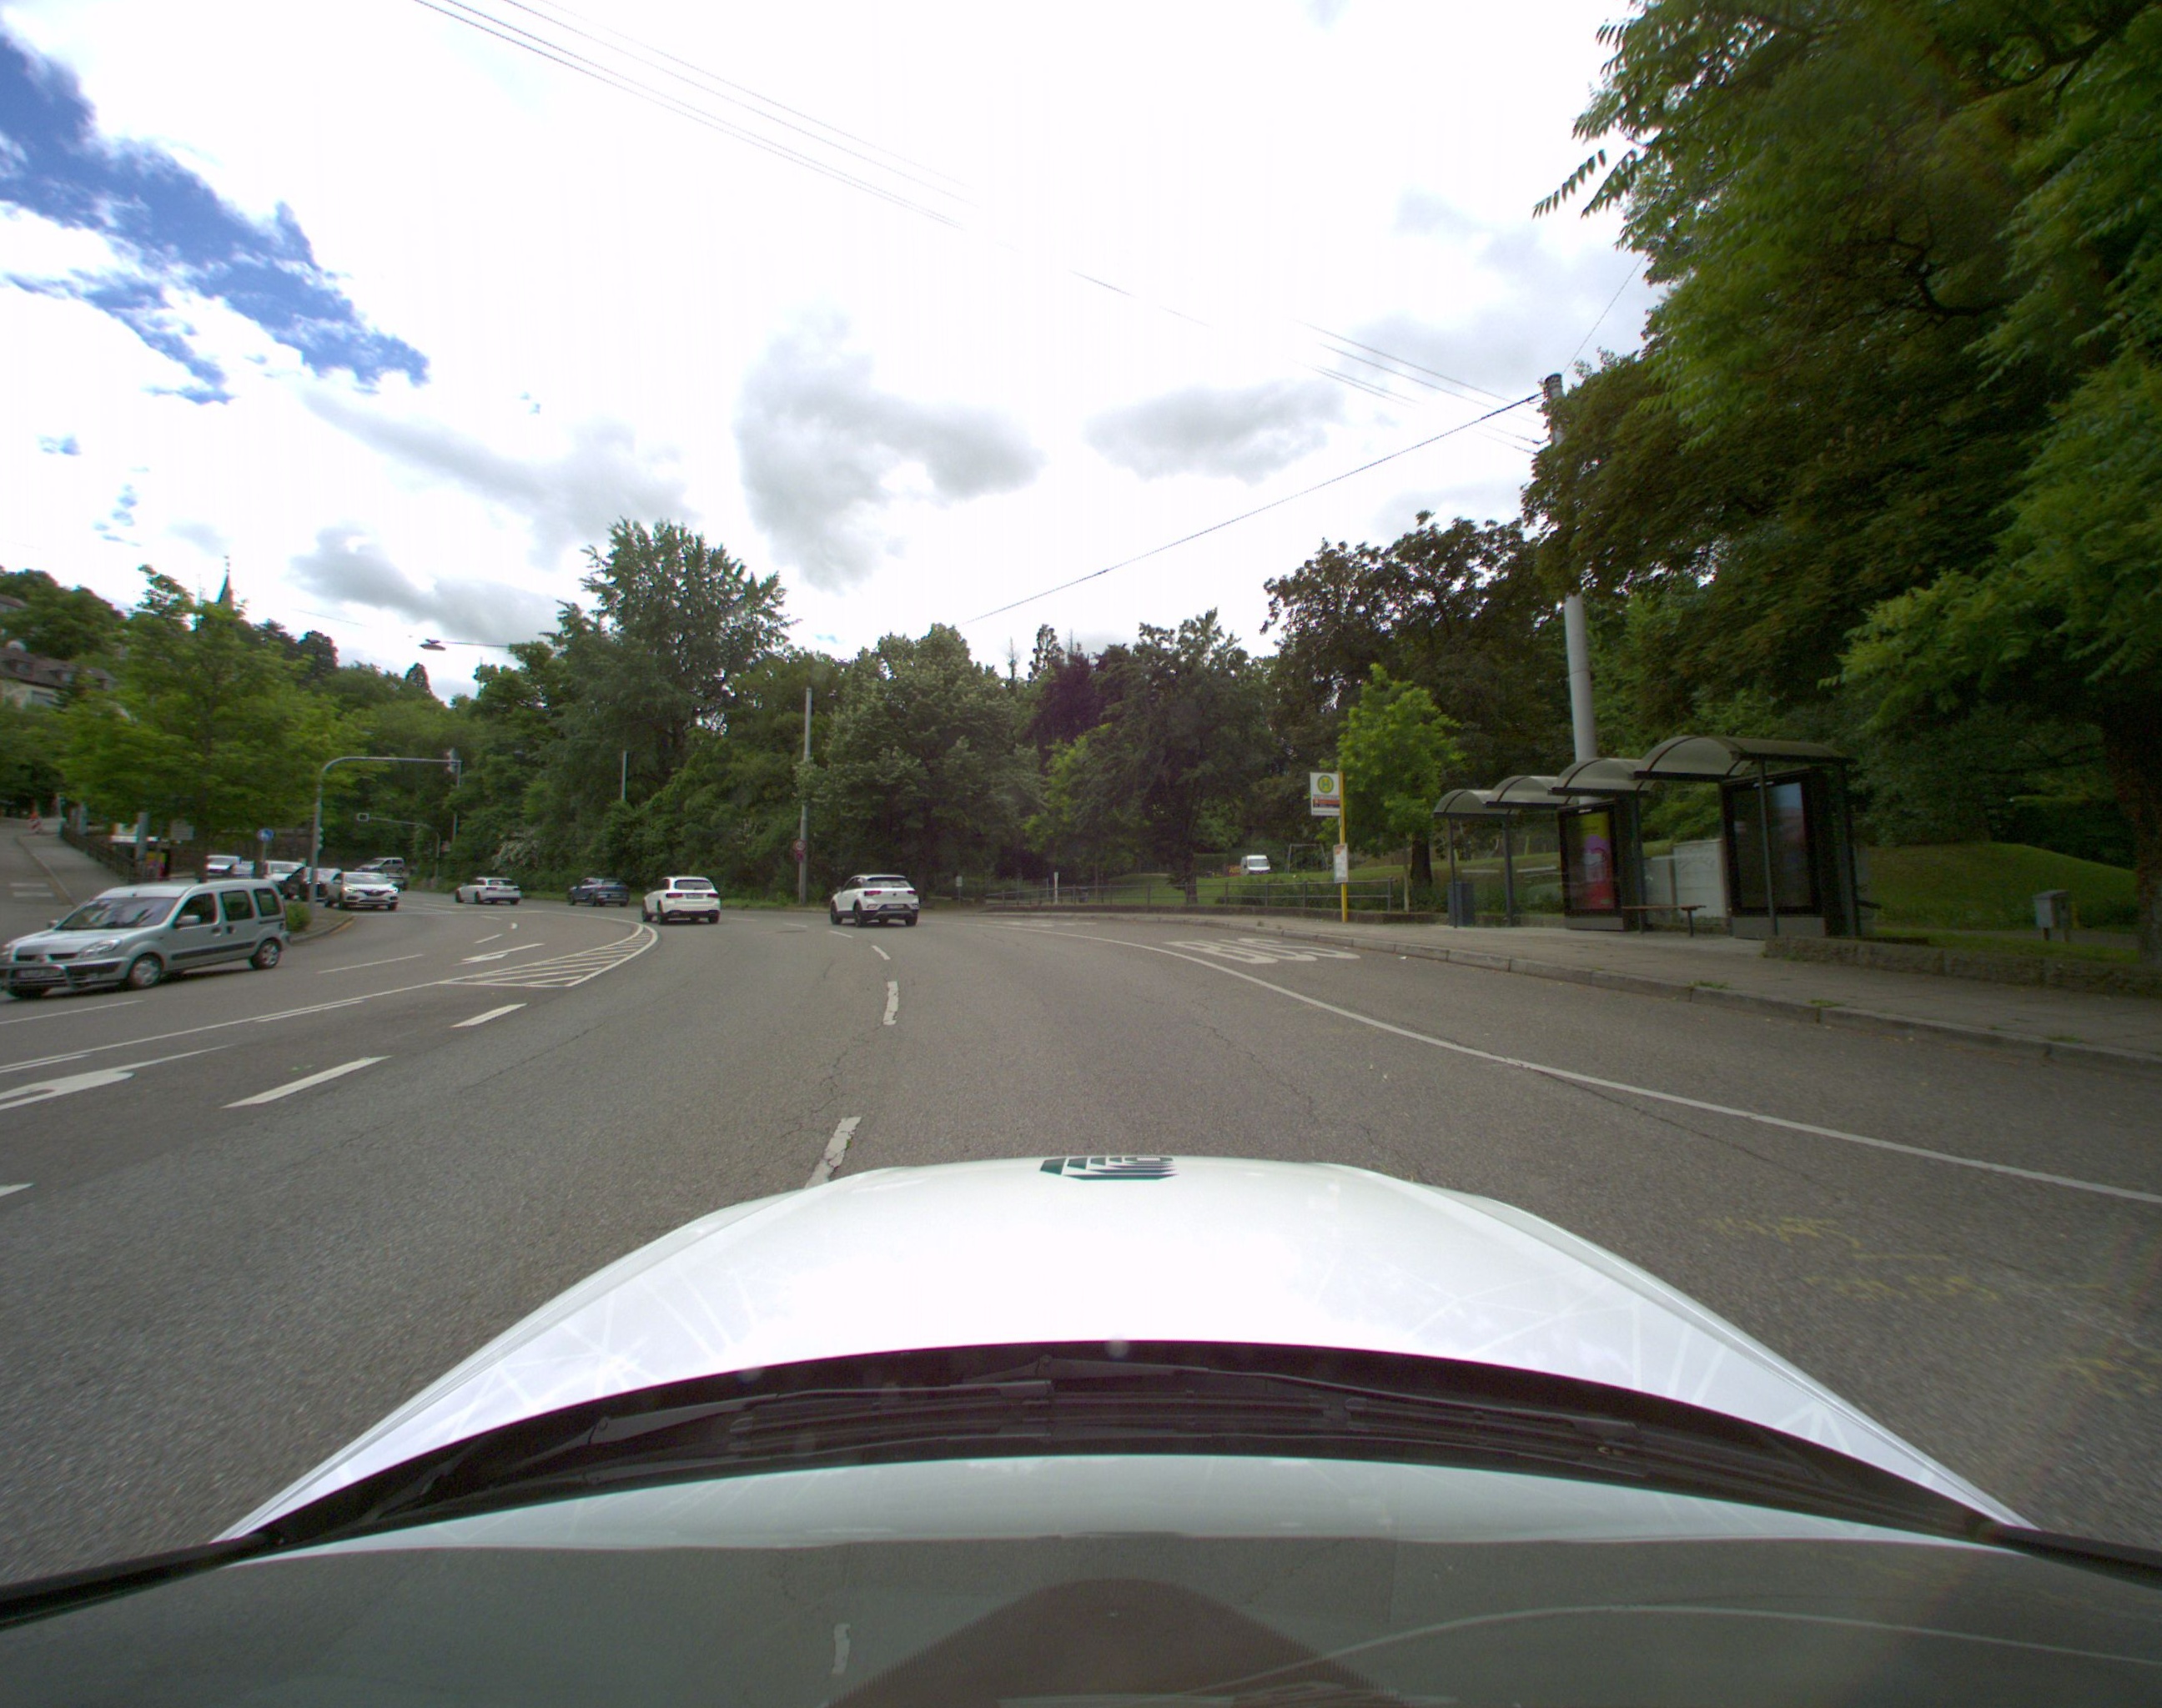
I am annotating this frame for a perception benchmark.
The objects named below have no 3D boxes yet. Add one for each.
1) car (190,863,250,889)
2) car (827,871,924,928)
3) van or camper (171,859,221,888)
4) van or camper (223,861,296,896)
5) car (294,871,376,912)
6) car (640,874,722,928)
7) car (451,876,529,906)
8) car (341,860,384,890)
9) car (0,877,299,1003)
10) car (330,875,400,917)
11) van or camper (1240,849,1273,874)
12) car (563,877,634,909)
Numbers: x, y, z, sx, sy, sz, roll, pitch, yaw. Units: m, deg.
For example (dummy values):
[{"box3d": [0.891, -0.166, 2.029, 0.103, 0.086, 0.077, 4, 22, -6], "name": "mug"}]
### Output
[{"box3d": [-54.450, 1.380, 51.472, 3.939, 1.521, 2.012, -1, -4, 36], "name": "car"}, {"box3d": [-6.402, 1.351, 25.114, 1.877, 1.556, 3.855, 0, -2, -31], "name": "car"}, {"box3d": [-66.568, 1.456, 61.239, 5.489, 2.014, 2.012, -1, -4, 38], "name": "van or camper"}, {"box3d": [-47.726, 1.434, 47.267, 5.386, 1.896, 2.012, -1, -4, 35], "name": "van or camper"}, {"box3d": [-34.561, 1.698, 37.707, 4.697, 1.791, 1.914, -1, -1, 36], "name": "car"}, {"box3d": [-14.140, 1.584, 28.673, 1.891, 1.652, 4.294, -3, 0, -35], "name": "car"}, {"box3d": [-32.355, 1.999, 44.565, 4.252, 1.519, 2.269, -1, -3, 37], "name": "car"}, {"box3d": [-51.422, 1.503, 58.275, 2.209, 2.014, 3.951, 0, -2, -43], "name": "car"}, {"box3d": [-16.414, 1.371, 14.406, 1.914, 1.830, 4.021, -1, -1, -13], "name": "car"}, {"box3d": [-30.294, 1.716, 34.407, 4.321, 1.654, 1.913, -2, -1, 44], "name": "car"}, {"box3d": [15.371, 0.664, 71.576, 2.291, 2.014, 5.451, -1, -1, 7], "name": "van or camper"}, {"box3d": [-26.494, 2.095, 44.697, 3.907, 1.632, 1.879, -2, -1, 35], "name": "car"}]
